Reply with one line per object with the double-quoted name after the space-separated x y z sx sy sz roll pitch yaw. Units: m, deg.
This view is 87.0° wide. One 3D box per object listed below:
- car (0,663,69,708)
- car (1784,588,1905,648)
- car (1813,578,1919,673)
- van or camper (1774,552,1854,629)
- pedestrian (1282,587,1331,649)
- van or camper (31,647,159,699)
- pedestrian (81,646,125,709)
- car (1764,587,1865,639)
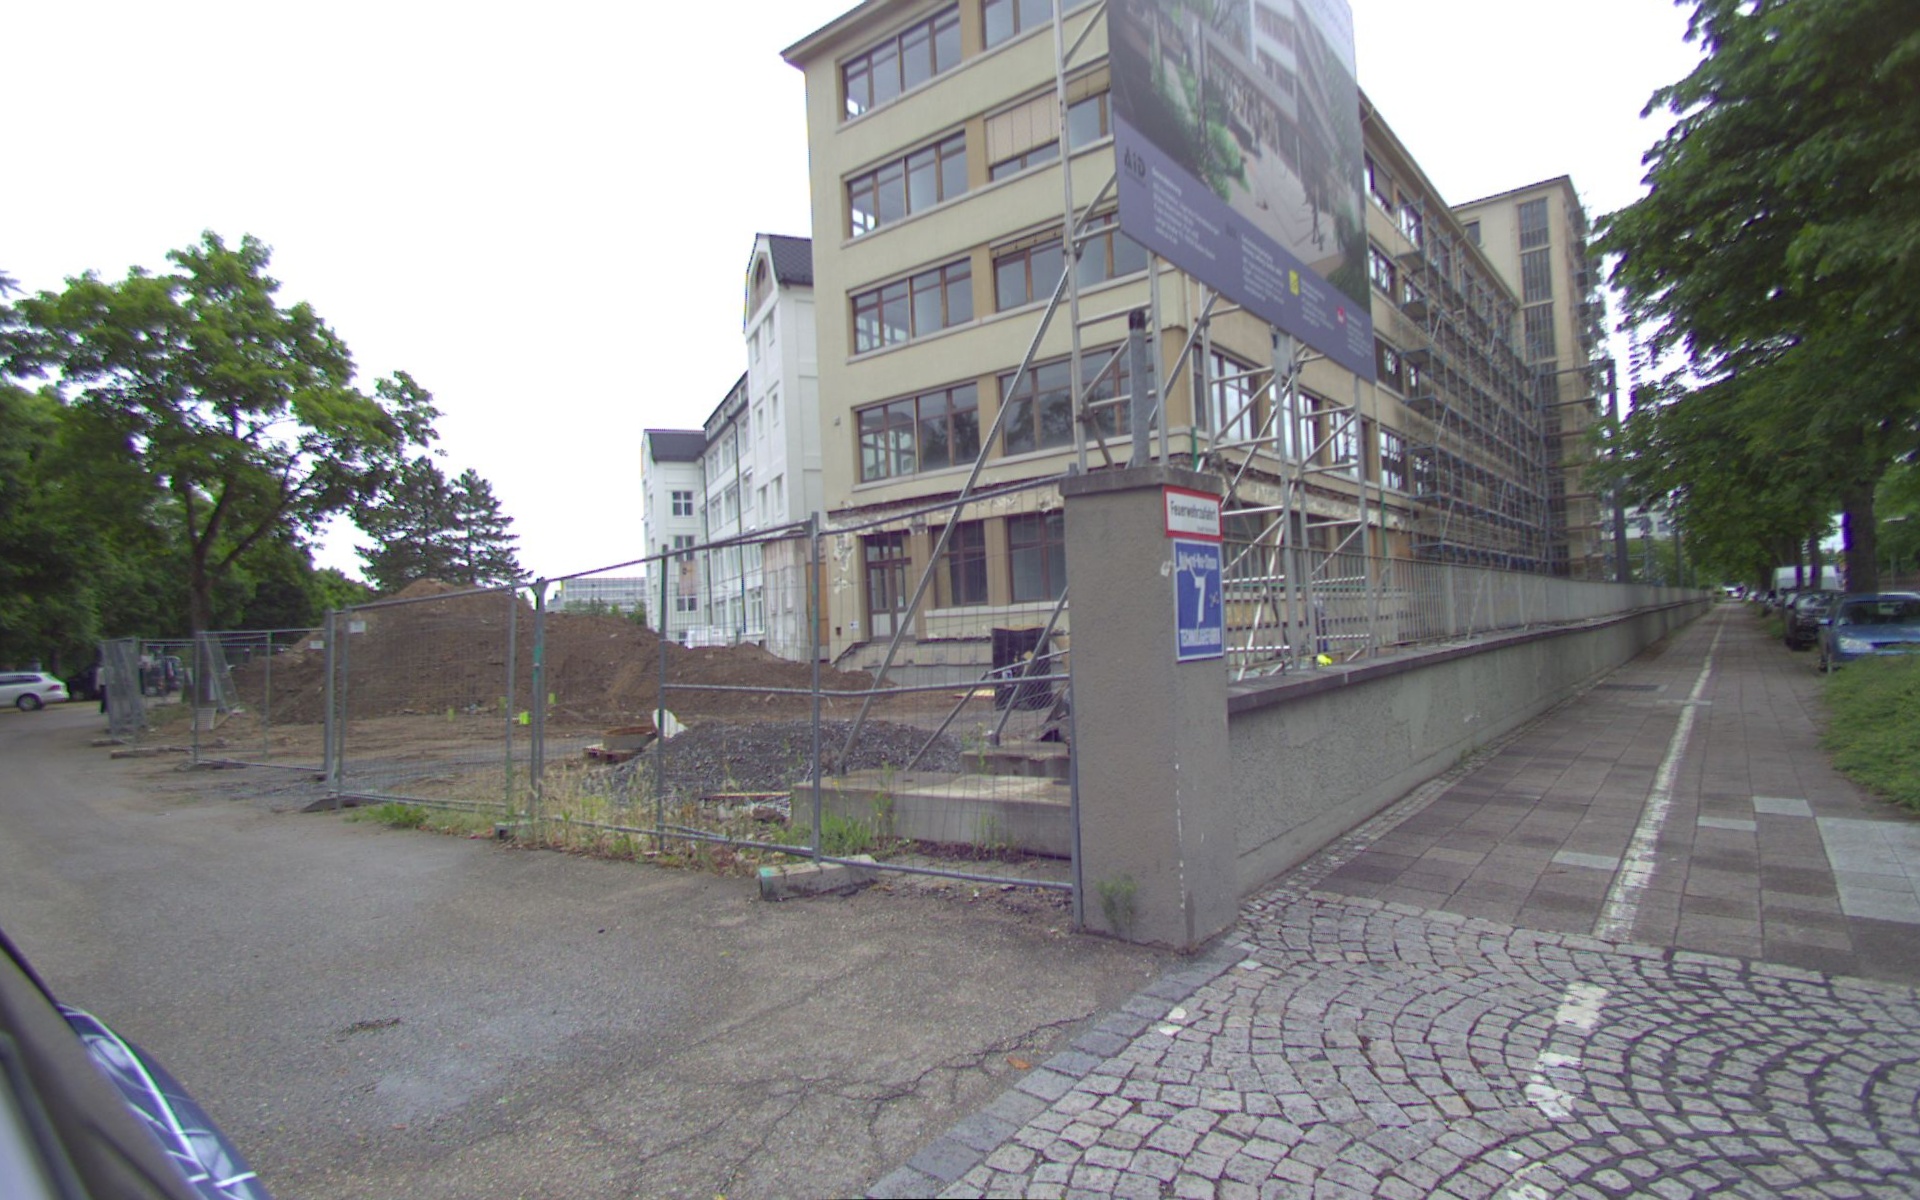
-36.629 3.312 38.585 3.822 1.587 1.756 -2 -2 -36 "car"
22.145 0.430 25.483 1.997 1.320 3.949 -4 -2 38 "car"
15.618 0.379 16.905 1.830 1.429 3.949 -4 -2 38 "car"
33.383 -0.371 39.512 2.000 2.773 3.943 -4 -2 44 "van or camper"
8.479 0.446 24.756 0.978 1.448 0.922 -3 -2 27 "pedestrian"
-42.584 3.568 49.951 4.423 2.275 2.006 -1 -2 -24 "van or camper"
-25.439 2.285 30.057 0.657 1.795 0.748 -3 -2 15 "pedestrian"
24.596 0.358 29.273 1.997 1.320 3.949 -4 -2 38 "car"
